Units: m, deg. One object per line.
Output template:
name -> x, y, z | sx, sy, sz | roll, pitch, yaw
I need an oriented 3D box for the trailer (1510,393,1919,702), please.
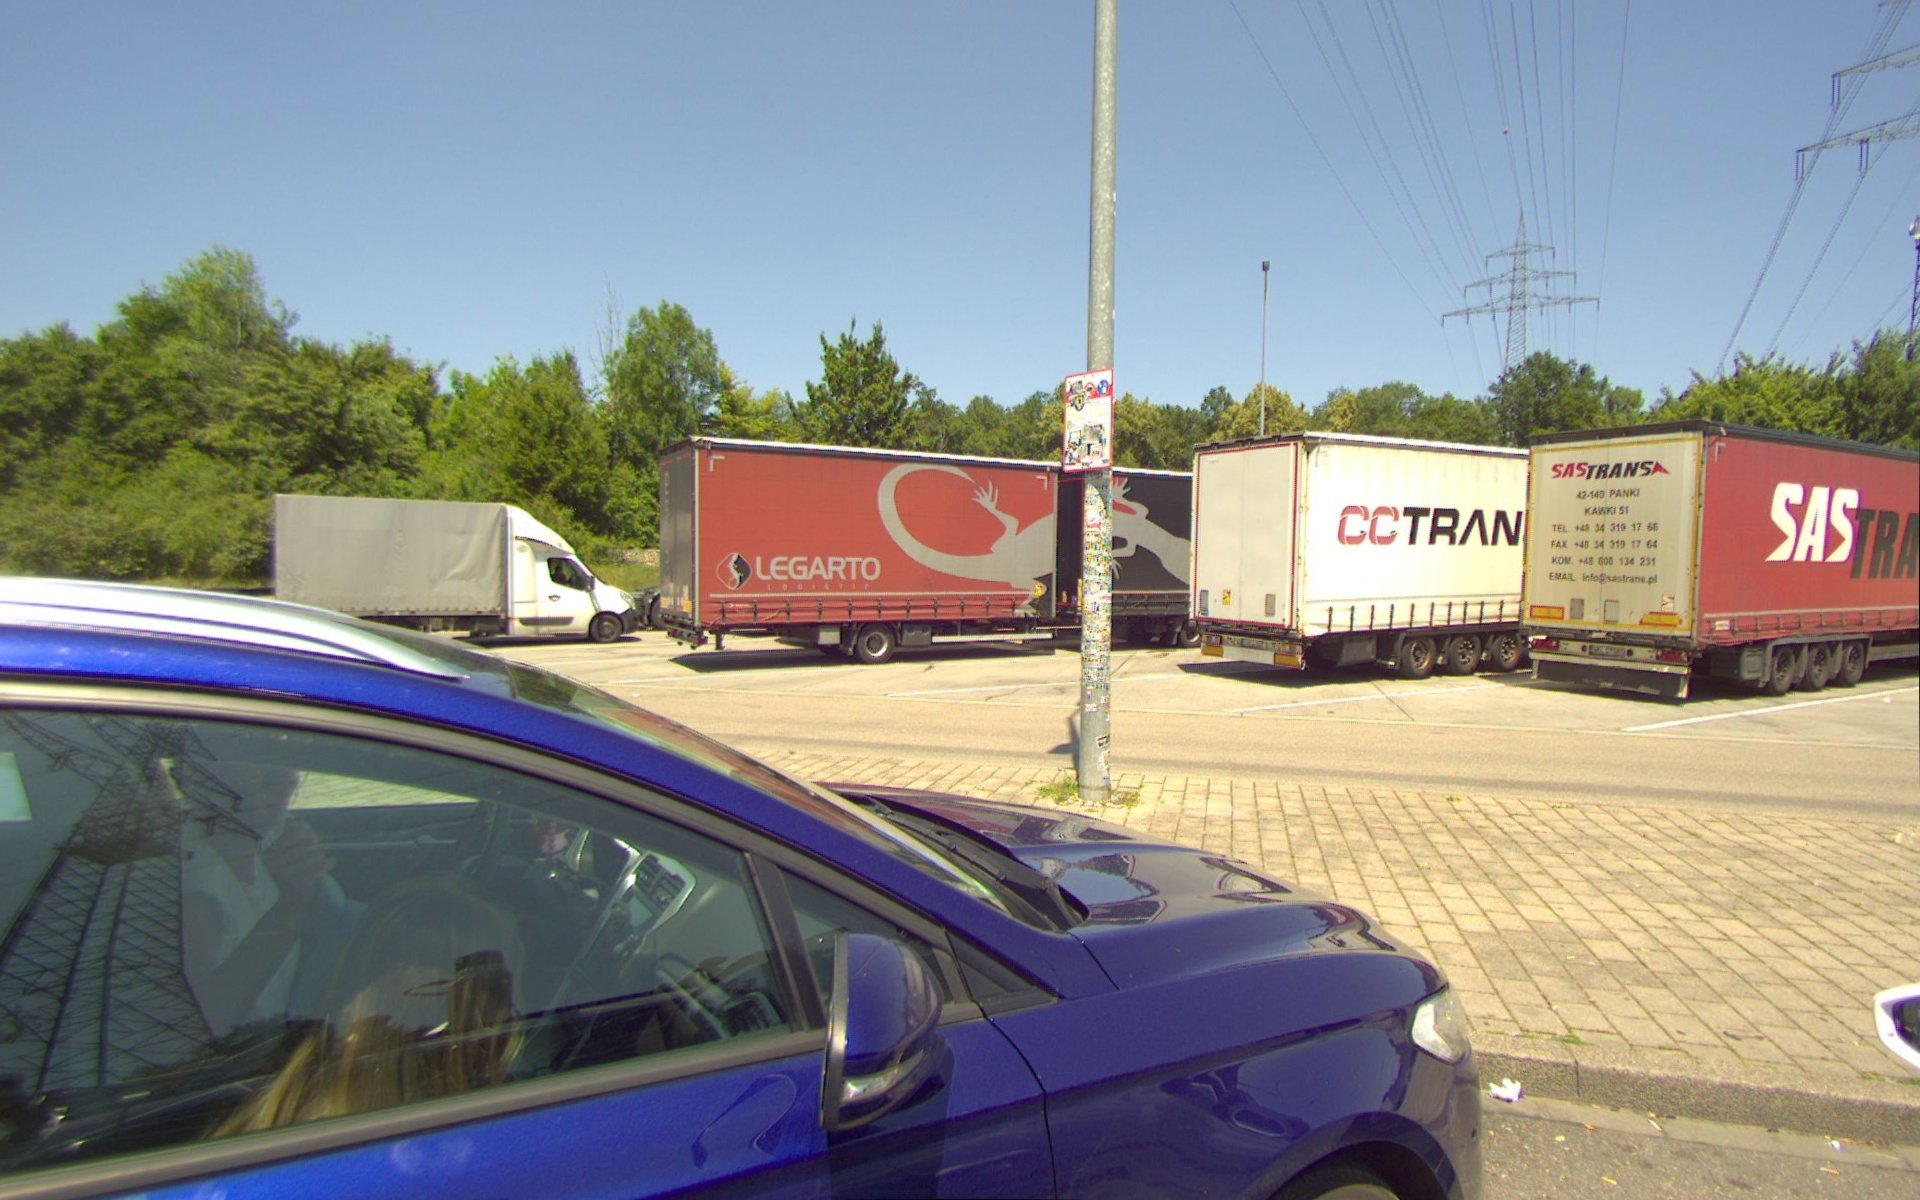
trailer -> 15.273, -0.703, 18.434 | 13.046, 4.276, 2.786 | 0, 0, -31

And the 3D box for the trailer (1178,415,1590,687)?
trailer -> 8.117, -0.759, 18.831 | 8.189, 4.208, 2.741 | 0, 1, -30

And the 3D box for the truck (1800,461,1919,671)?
truck -> 21.455, -0.668, 22.071 | 5.824, 4.189, 2.792 | 0, 0, -30

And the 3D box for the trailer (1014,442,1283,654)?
trailer -> 4.574, -1.097, 24.100 | 6.076, 4.505, 2.665 | 0, 1, -30

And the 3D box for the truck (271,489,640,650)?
truck -> -11.155, -0.593, 22.757 | 7.171, 3.194, 2.160 | 0, 1, -30

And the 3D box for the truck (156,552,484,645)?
truck -> -15.333, -0.032, 24.580 | 6.538, 2.040, 1.984 | 0, 0, -31

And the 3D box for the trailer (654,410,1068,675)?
trailer -> -1.823, -0.965, 20.293 | 7.963, 4.510, 2.648 | 0, 0, -31

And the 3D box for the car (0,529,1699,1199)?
car -> -0.966, 0.667, 1.479 | 4.362, 1.437, 1.731 | 1, 0, -30
